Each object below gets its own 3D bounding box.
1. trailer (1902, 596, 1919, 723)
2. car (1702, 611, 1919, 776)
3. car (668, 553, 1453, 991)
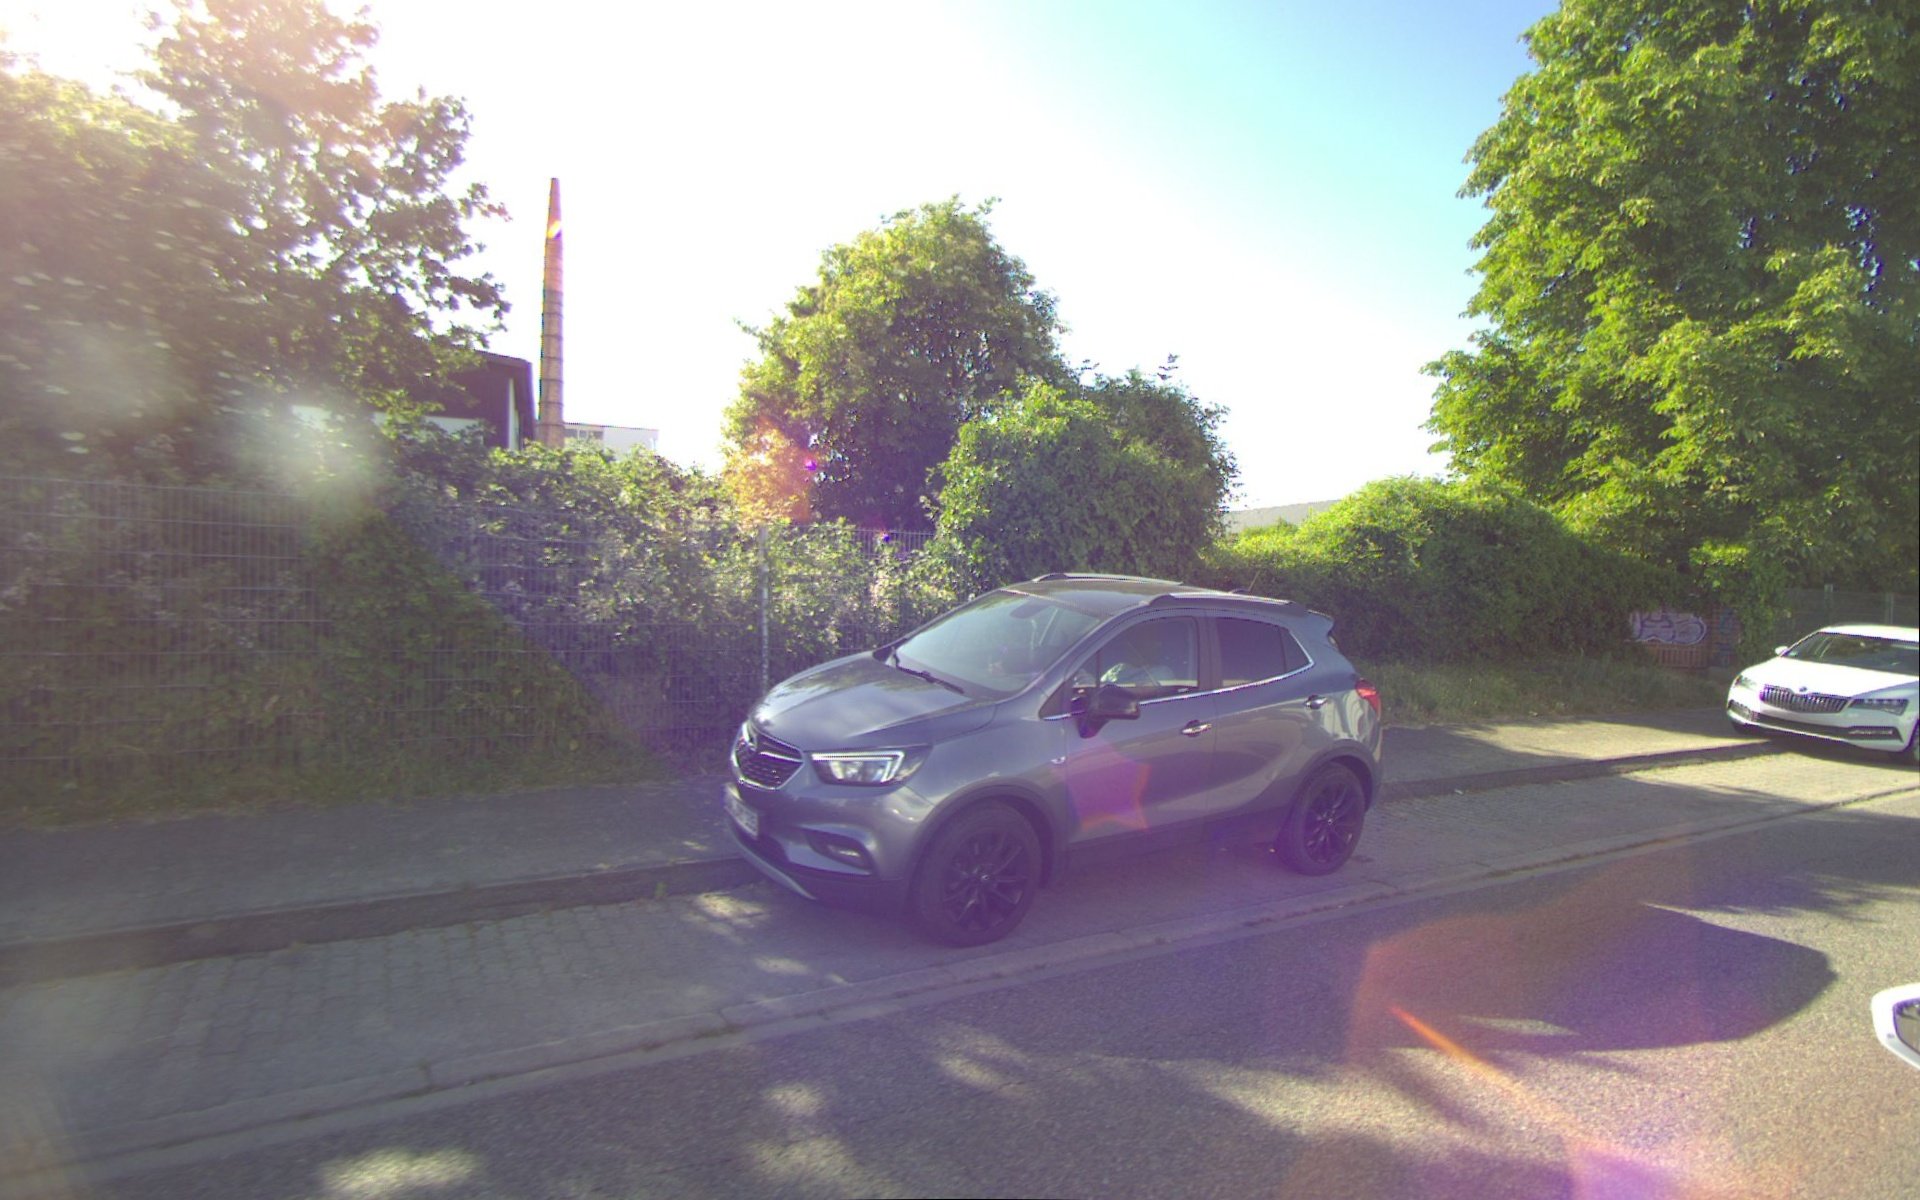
[{"bbox_3d":[17.073,0.978,15.899,4.363,1.967,1.984,2,0,-30],"label":"trailer"},{"bbox_3d":[11.991,1.080,12.984,4.965,1.615,1.899,1,5,-30],"label":"car"},{"bbox_3d":[0.736,0.706,6.048,4.415,1.685,1.896,1,5,-33],"label":"car"}]
